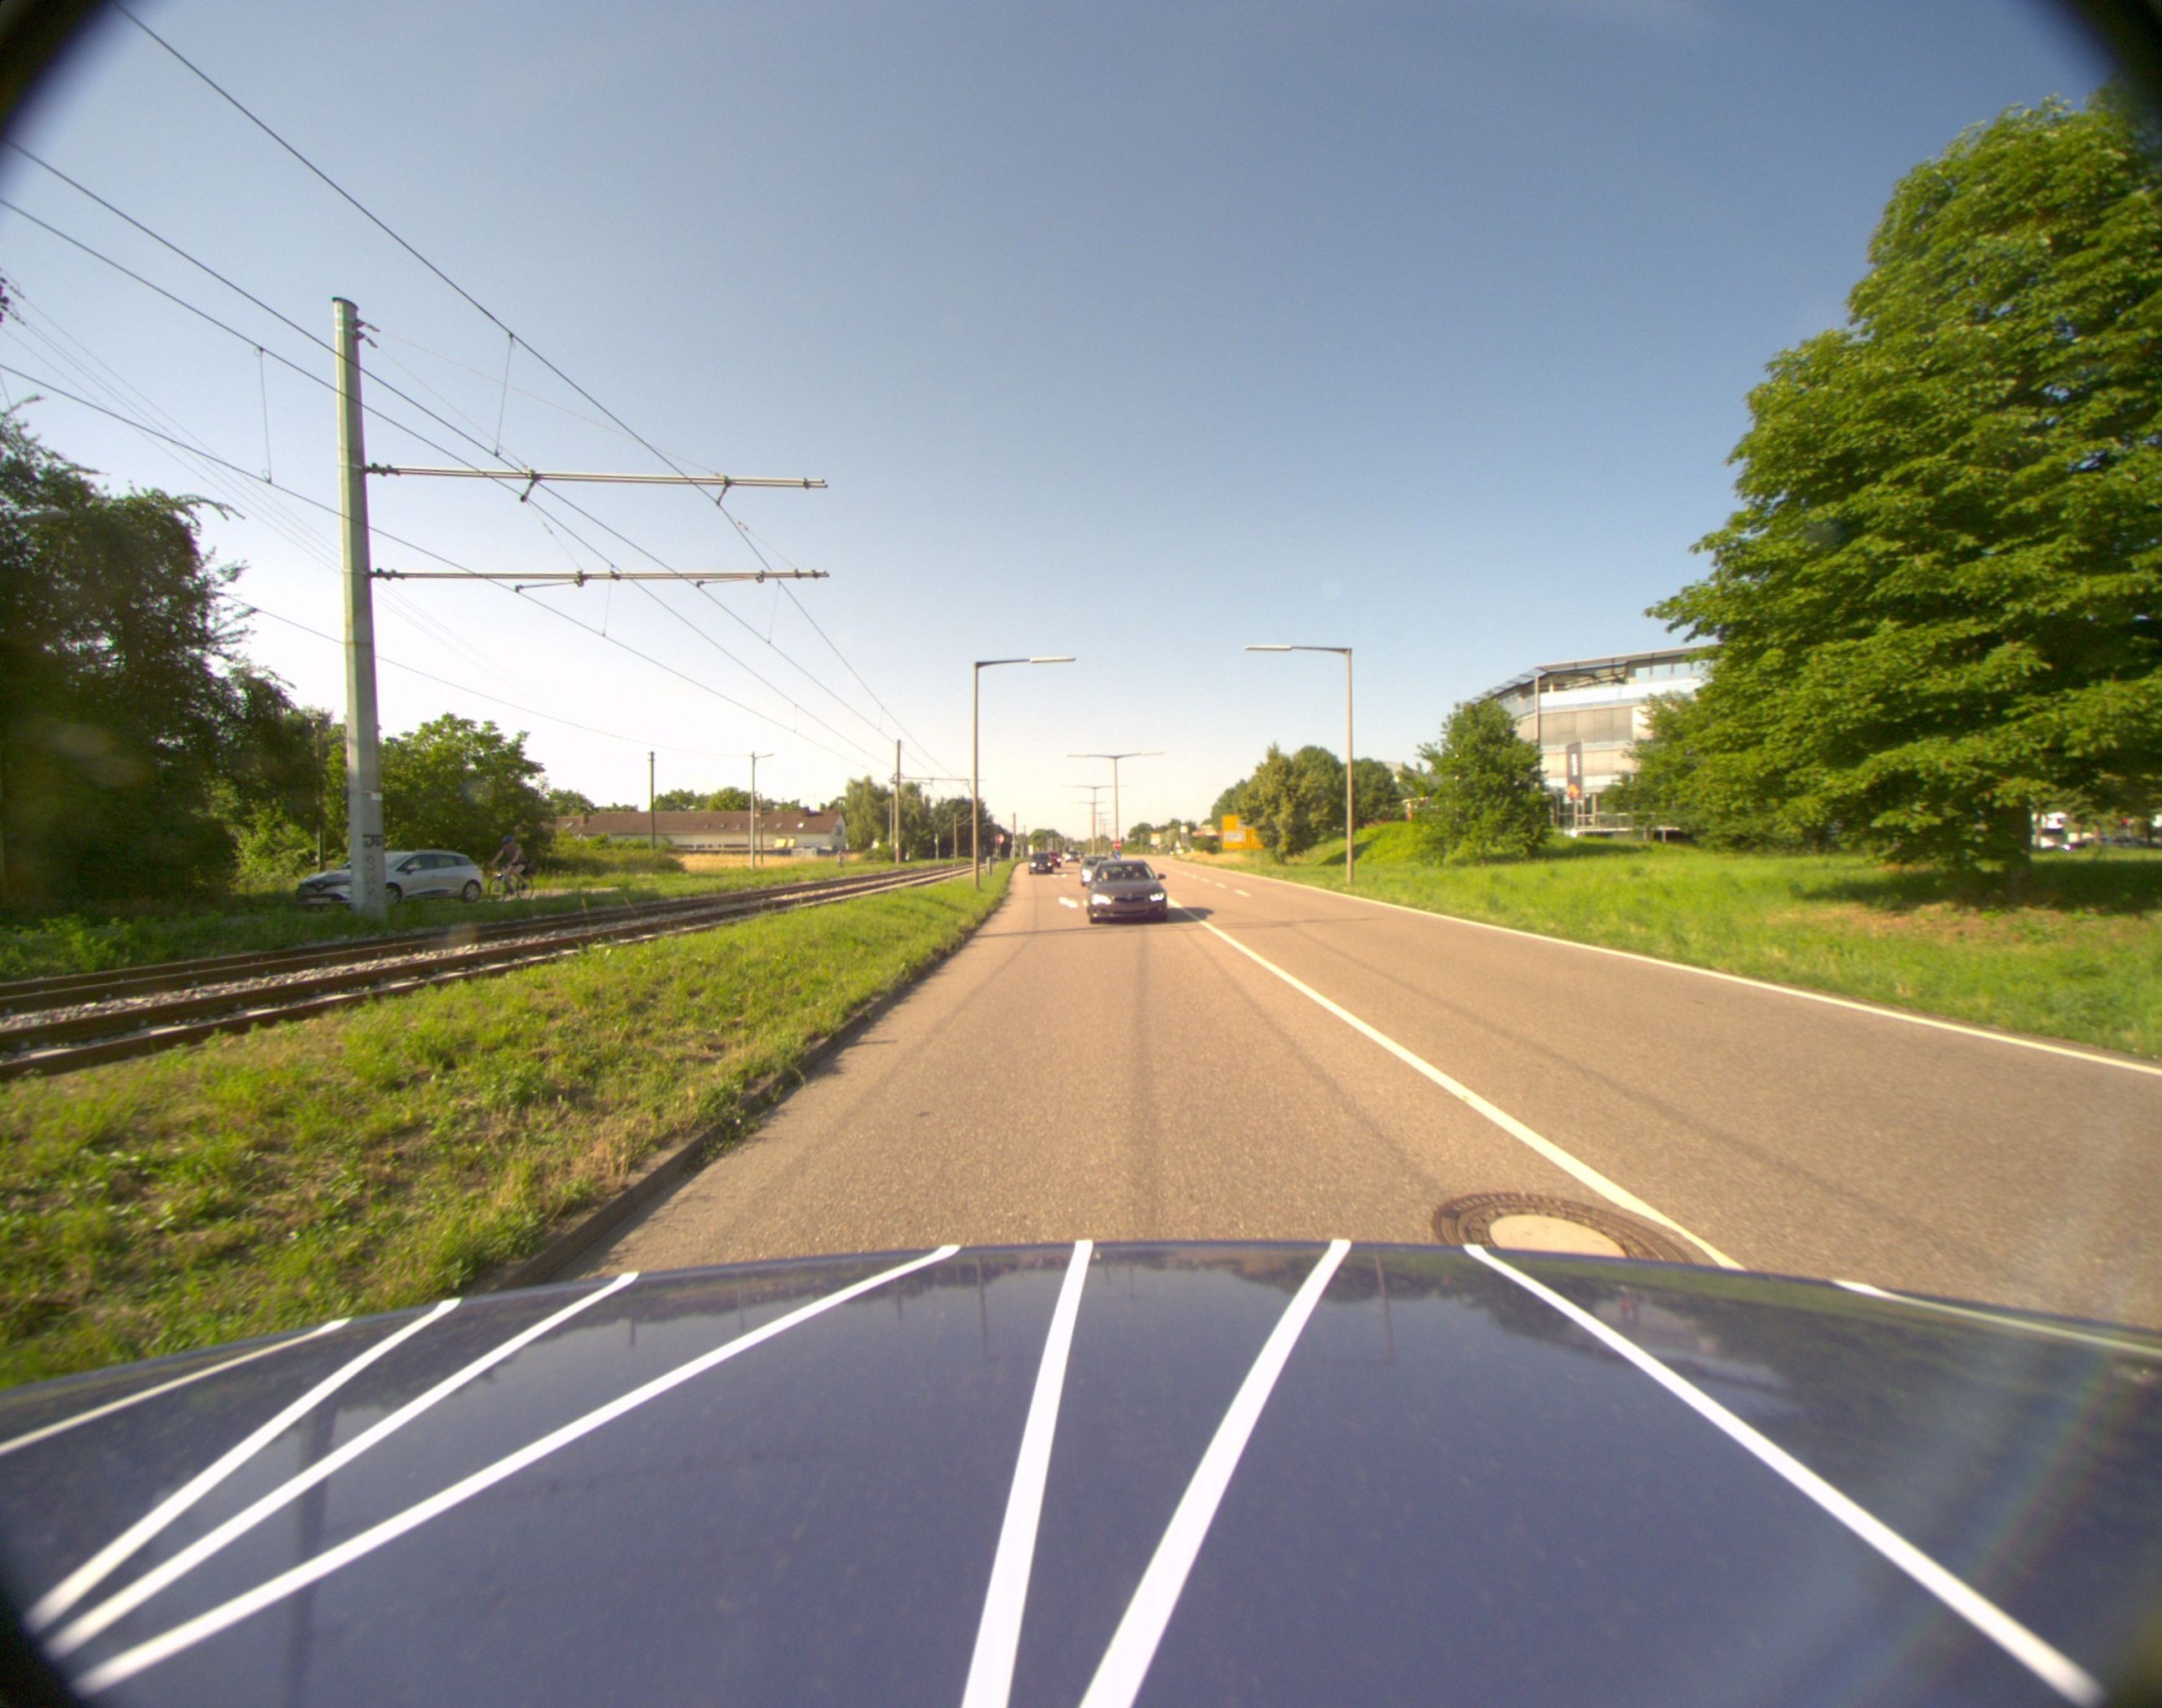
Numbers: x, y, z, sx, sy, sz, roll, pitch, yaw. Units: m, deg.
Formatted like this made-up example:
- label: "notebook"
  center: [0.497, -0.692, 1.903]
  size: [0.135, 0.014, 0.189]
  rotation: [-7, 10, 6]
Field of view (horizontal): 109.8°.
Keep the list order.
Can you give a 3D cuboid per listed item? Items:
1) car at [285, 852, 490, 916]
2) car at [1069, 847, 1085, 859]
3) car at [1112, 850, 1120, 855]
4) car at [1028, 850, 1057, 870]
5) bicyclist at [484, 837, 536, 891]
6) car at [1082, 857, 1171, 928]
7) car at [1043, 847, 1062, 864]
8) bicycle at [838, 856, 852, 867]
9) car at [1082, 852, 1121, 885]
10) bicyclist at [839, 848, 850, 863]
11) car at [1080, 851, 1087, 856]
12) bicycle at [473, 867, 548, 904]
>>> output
- label: "car"
  center: [-17.309, 0.670, 19.284]
  size: [1.538, 1.440, 4.130]
  rotation: [0, 0, -3]
- label: "car"
  center: [-0.497, -0.173, 101.816]
  size: [1.968, 1.504, 4.808]
  rotation: [-1, 0, 0]
- label: "car"
  center: [10.139, -0.352, 220.324]
  size: [1.563, 1.369, 3.383]
  rotation: [-3, 2, -5]
- label: "car"
  center: [-2.831, 0.434, 56.683]
  size: [1.847, 1.347, 4.154]
  rotation: [-3, 0, 0]
- label: "bicyclist"
  center: [-15.575, 0.264, 20.742]
  size: [0.631, 1.414, 0.962]
  rotation: [-2, 1, 0]
- label: "car"
  center: [1.009, 0.850, 18.586]
  size: [1.748, 1.444, 3.945]
  rotation: [-2, 1, -2]
- label: "car"
  center: [-2.709, 0.144, 73.545]
  size: [1.607, 1.504, 4.268]
  rotation: [-3, 0, 0]
- label: "bicycle"
  center: [-20.335, 0.635, 65.530]
  size: [0.644, 0.904, 1.813]
  rotation: [-2, 0, 0]
- label: "car"
  center: [0.989, 0.694, 36.861]
  size: [1.710, 1.444, 4.590]
  rotation: [-2, 0, 2]
- label: "bicyclist"
  center: [-20.347, 0.127, 65.476]
  size: [0.641, 1.226, 0.791]
  rotation: [-2, 1, -1]
- label: "car"
  center: [0.770, -0.152, 227.205]
  size: [1.837, 1.504, 4.151]
  rotation: [-3, 0, -4]
- label: "bicycle"
  center: [-15.560, 0.844, 20.774]
  size: [0.644, 0.904, 1.843]
  rotation: [-2, 0, 0]
